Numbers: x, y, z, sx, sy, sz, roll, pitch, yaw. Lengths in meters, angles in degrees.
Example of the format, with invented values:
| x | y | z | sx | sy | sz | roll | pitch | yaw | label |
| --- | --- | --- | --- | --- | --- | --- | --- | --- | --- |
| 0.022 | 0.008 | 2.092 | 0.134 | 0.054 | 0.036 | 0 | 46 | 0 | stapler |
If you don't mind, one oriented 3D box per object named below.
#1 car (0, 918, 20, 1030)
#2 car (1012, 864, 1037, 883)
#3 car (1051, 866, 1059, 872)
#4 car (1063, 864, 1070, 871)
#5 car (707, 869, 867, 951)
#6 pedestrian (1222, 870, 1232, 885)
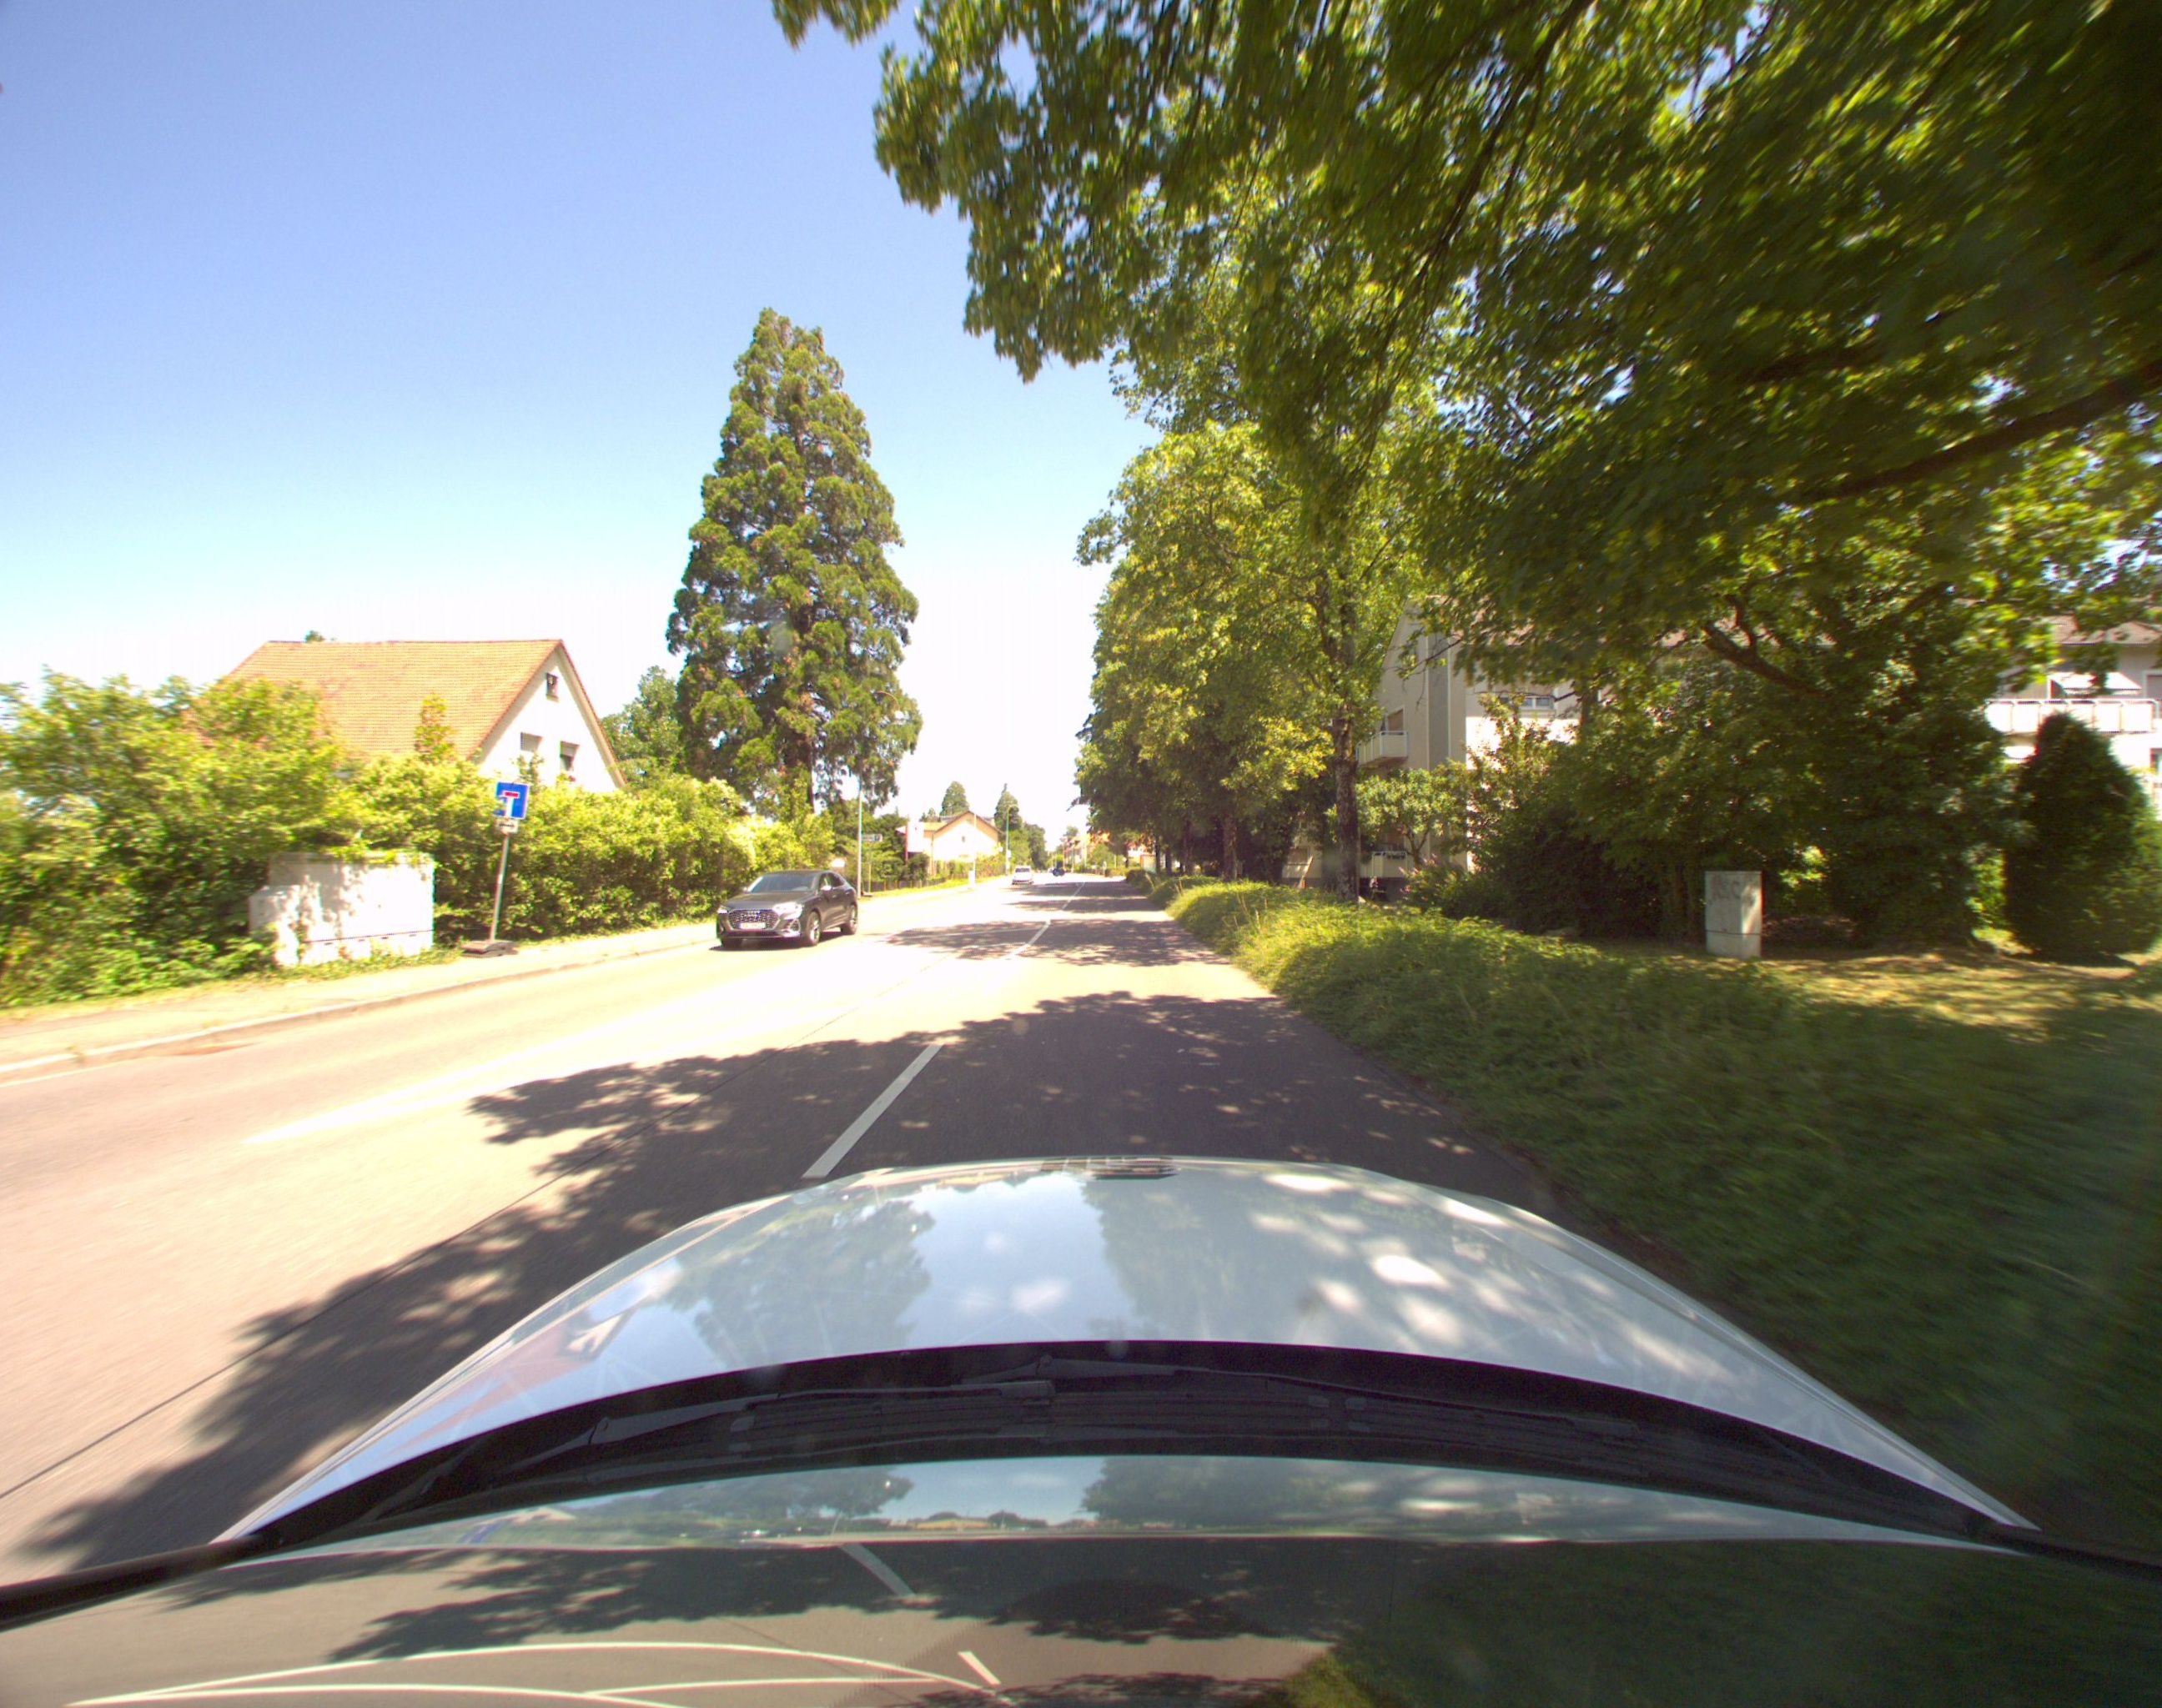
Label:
| x | y | z | sx | sy | sz | roll | pitch | yaw | label |
| --- | --- | --- | --- | --- | --- | --- | --- | --- | --- |
| -16.083 | 1.599 | 9.684 | 1.656 | 1.392 | 4.121 | -1 | -1 | 41 | car |
| -5.019 | 1.724 | 72.912 | 1.905 | 1.689 | 4.126 | -1 | -1 | 1 | car |
| -7.399 | 4.381 | 231.902 | 1.808 | 1.718 | 4.002 | 0 | -1 | 2 | car |
| -4.177 | 3.841 | 231.835 | 1.808 | 1.718 | 4.002 | 0 | -1 | 2 | car |
| -6.198 | 1.117 | 17.752 | 1.787 | 1.536 | 4.316 | -1 | -1 | 2 | car |
| 11.100 | 1.792 | 62.005 | 0.701 | 1.160 | 0.755 | 0 | -1 | 5 | pedestrian |
